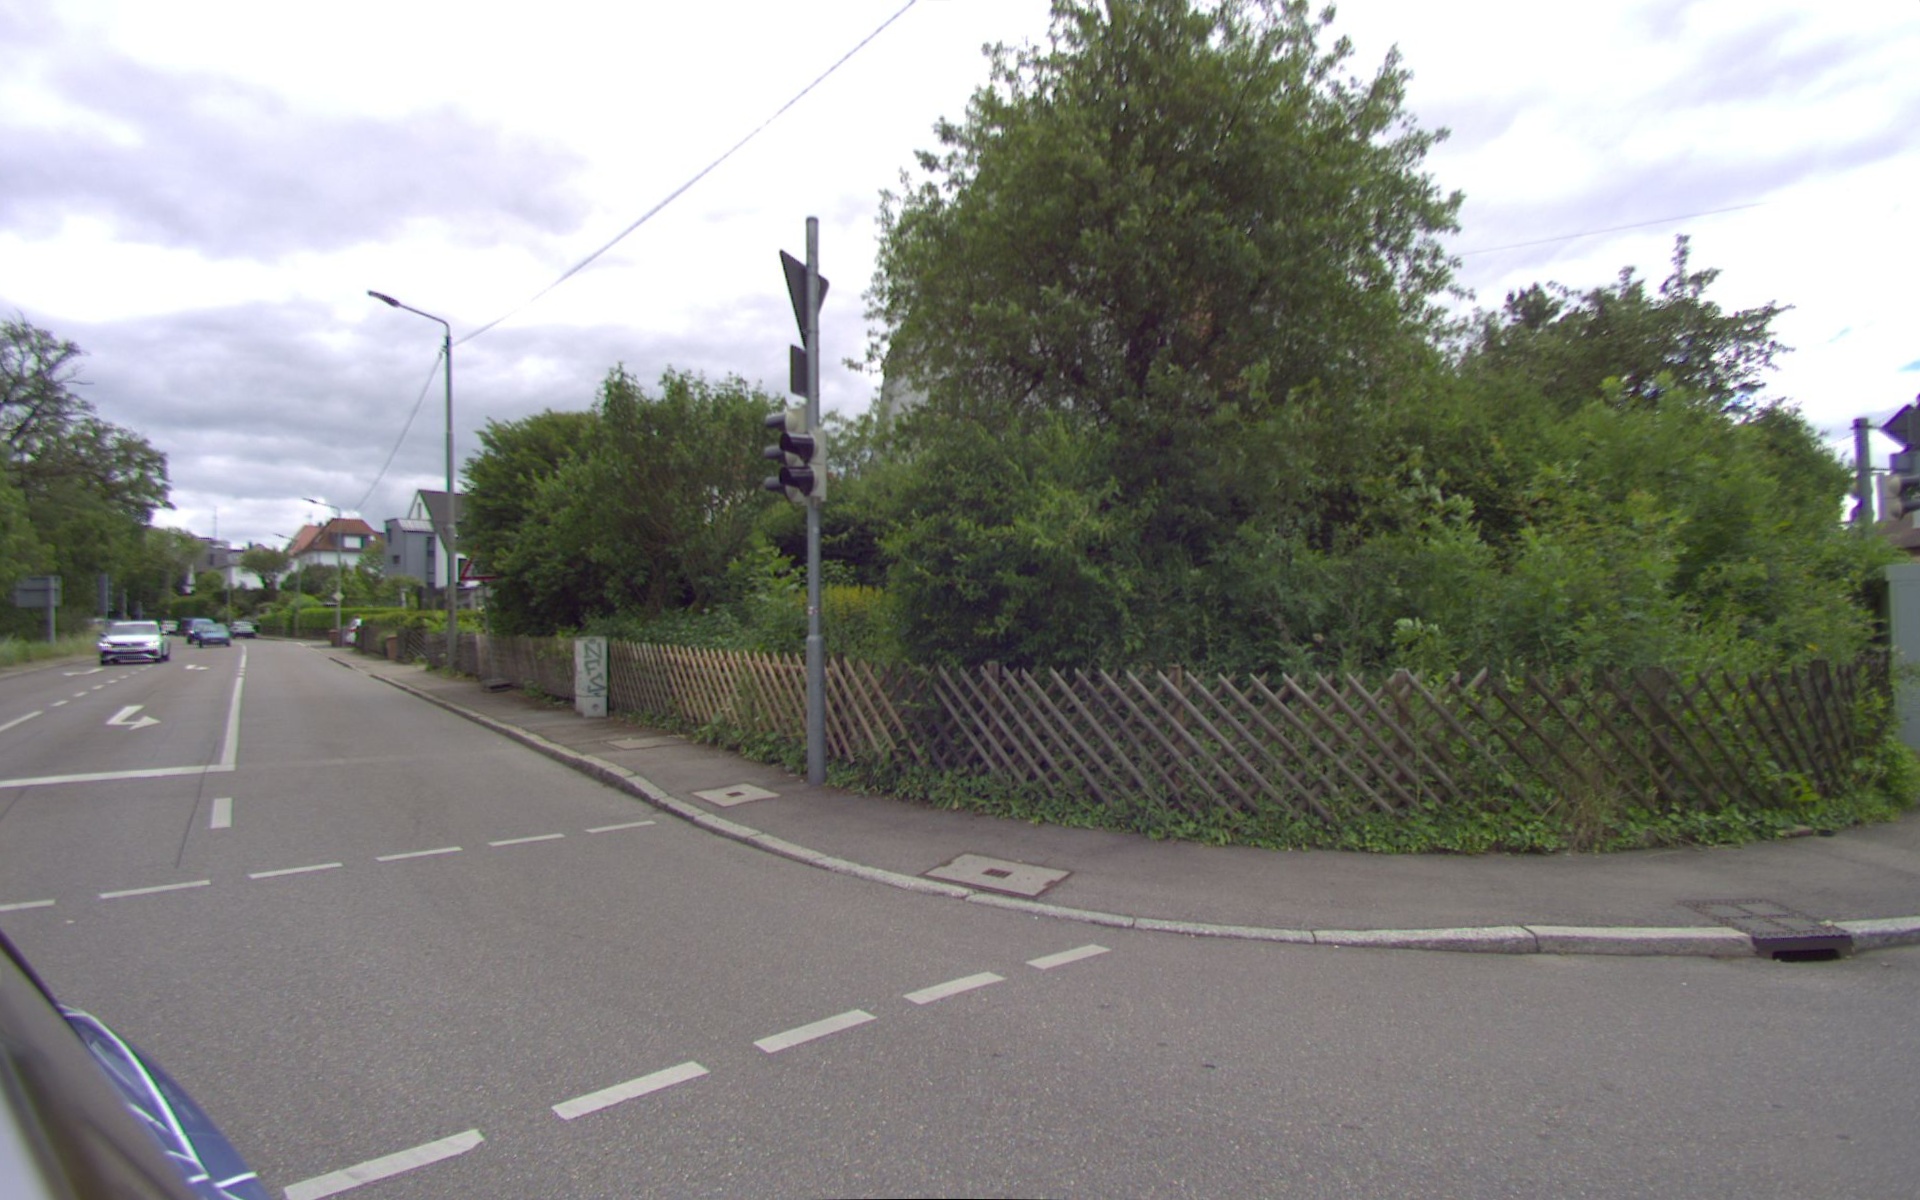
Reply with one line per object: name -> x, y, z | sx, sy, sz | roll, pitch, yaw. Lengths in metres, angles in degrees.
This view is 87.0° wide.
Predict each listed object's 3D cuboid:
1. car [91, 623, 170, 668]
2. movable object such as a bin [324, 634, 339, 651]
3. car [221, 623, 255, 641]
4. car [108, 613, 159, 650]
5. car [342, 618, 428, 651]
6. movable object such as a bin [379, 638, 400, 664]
car -> -31.900, 1.698, 39.022 | 1.966, 1.586, 4.011 | -1, -1, -34
movable object such as a bin -> -35.660, 2.413, 57.440 | 0.679, 0.961, 0.573 | 1, -2, -37
car -> -63.905, 2.826, 89.595 | 4.002, 1.535, 1.813 | -2, -2, 45
car -> -47.093, 1.777, 57.743 | 1.967, 2.029, 4.009 | 1, -2, -36
car -> -32.036, 1.920, 56.410 | 3.934, 1.606, 1.723 | -2, 0, -36
movable object such as a bin -> -20.931, 1.853, 37.113 | 0.624, 0.920, 0.562 | -1, -1, -26
